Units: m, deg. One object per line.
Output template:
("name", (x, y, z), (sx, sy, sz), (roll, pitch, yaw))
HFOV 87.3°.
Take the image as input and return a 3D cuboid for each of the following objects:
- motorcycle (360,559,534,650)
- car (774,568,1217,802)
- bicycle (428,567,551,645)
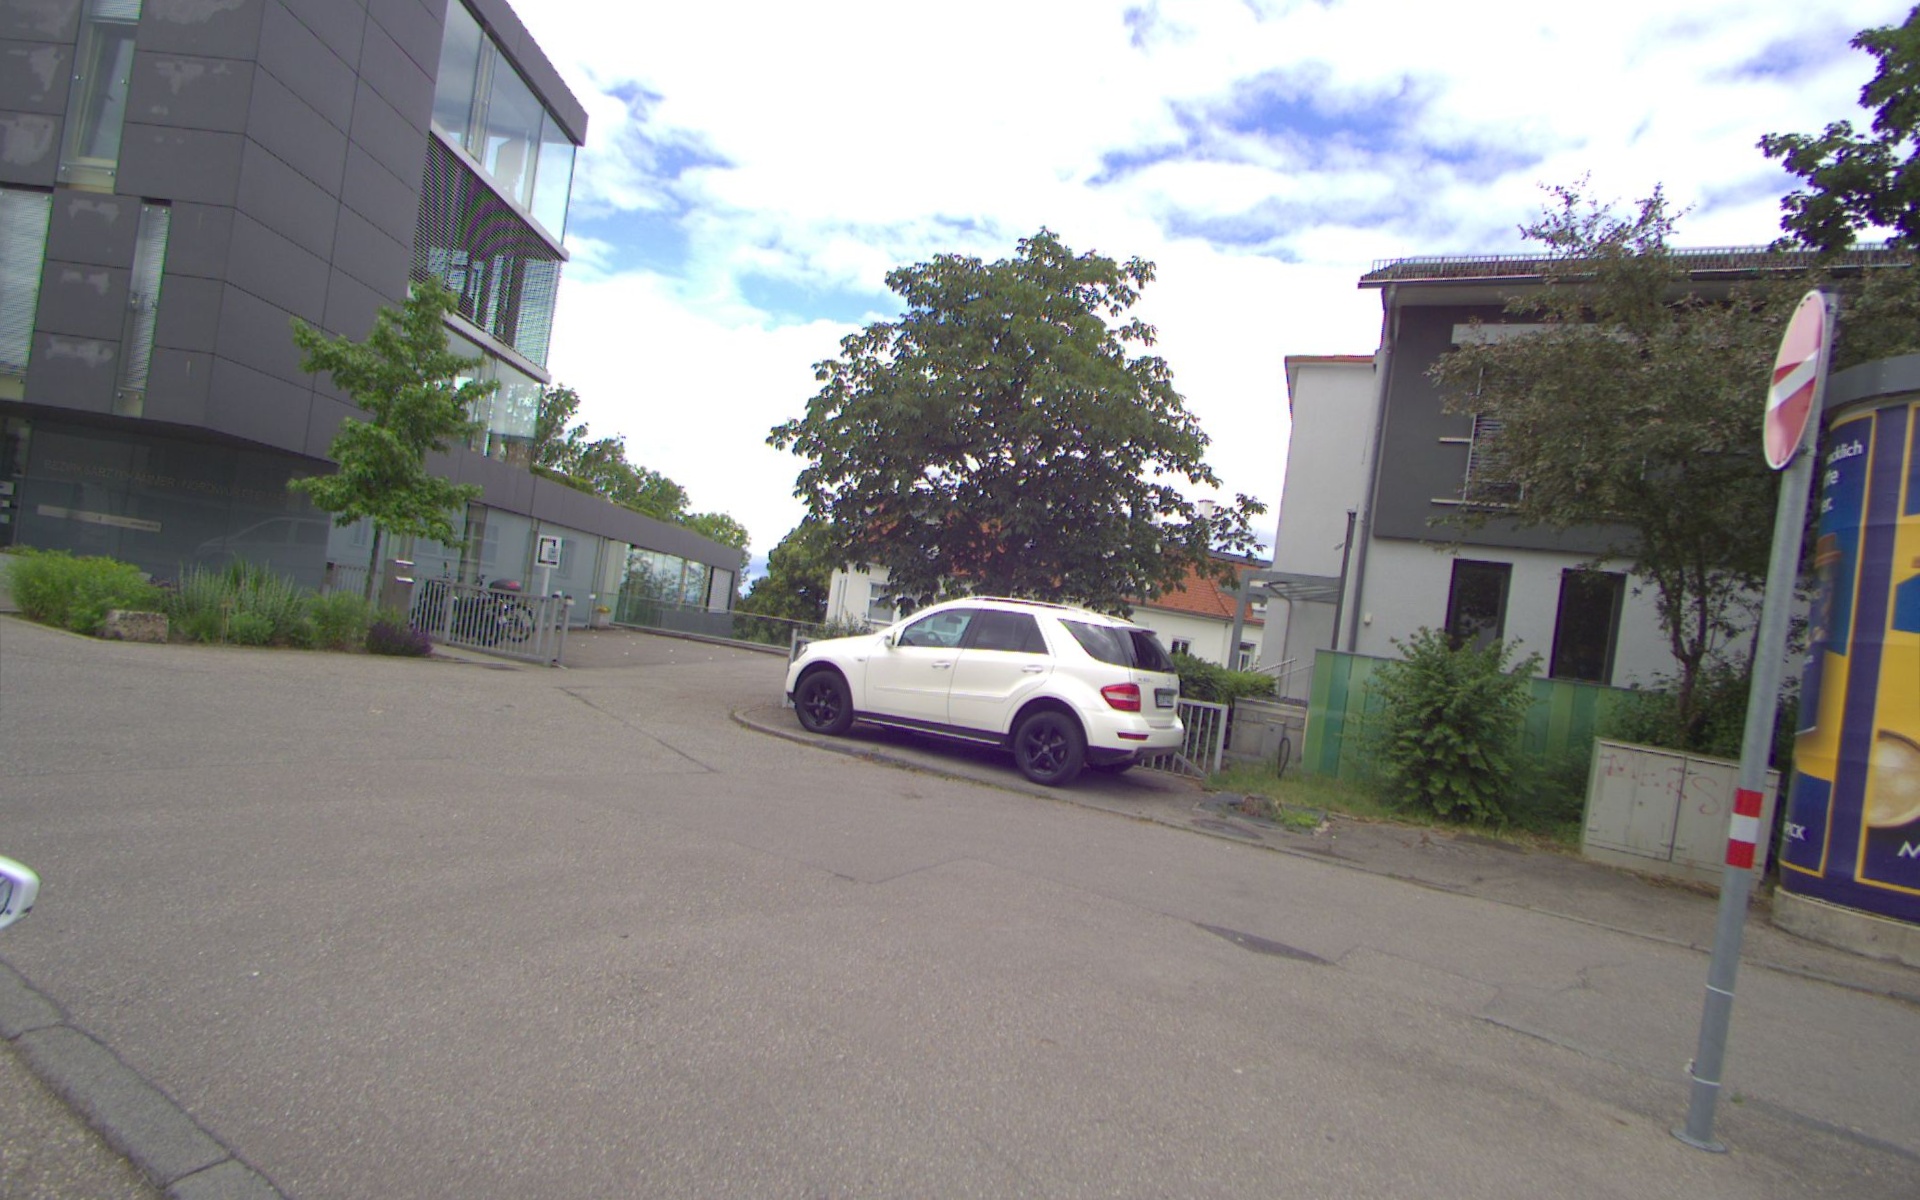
("motorcycle", (-9.326, 0.095, 18.341), (2.644, 1.275, 0.849), (8, -1, 5))
("car", (0.339, 0.828, 11.367), (4.442, 1.860, 1.996), (6, 0, 31))
("bicycle", (-9.454, 0.124, 20.248), (2.063, 1.275, 0.616), (8, 0, 5))
